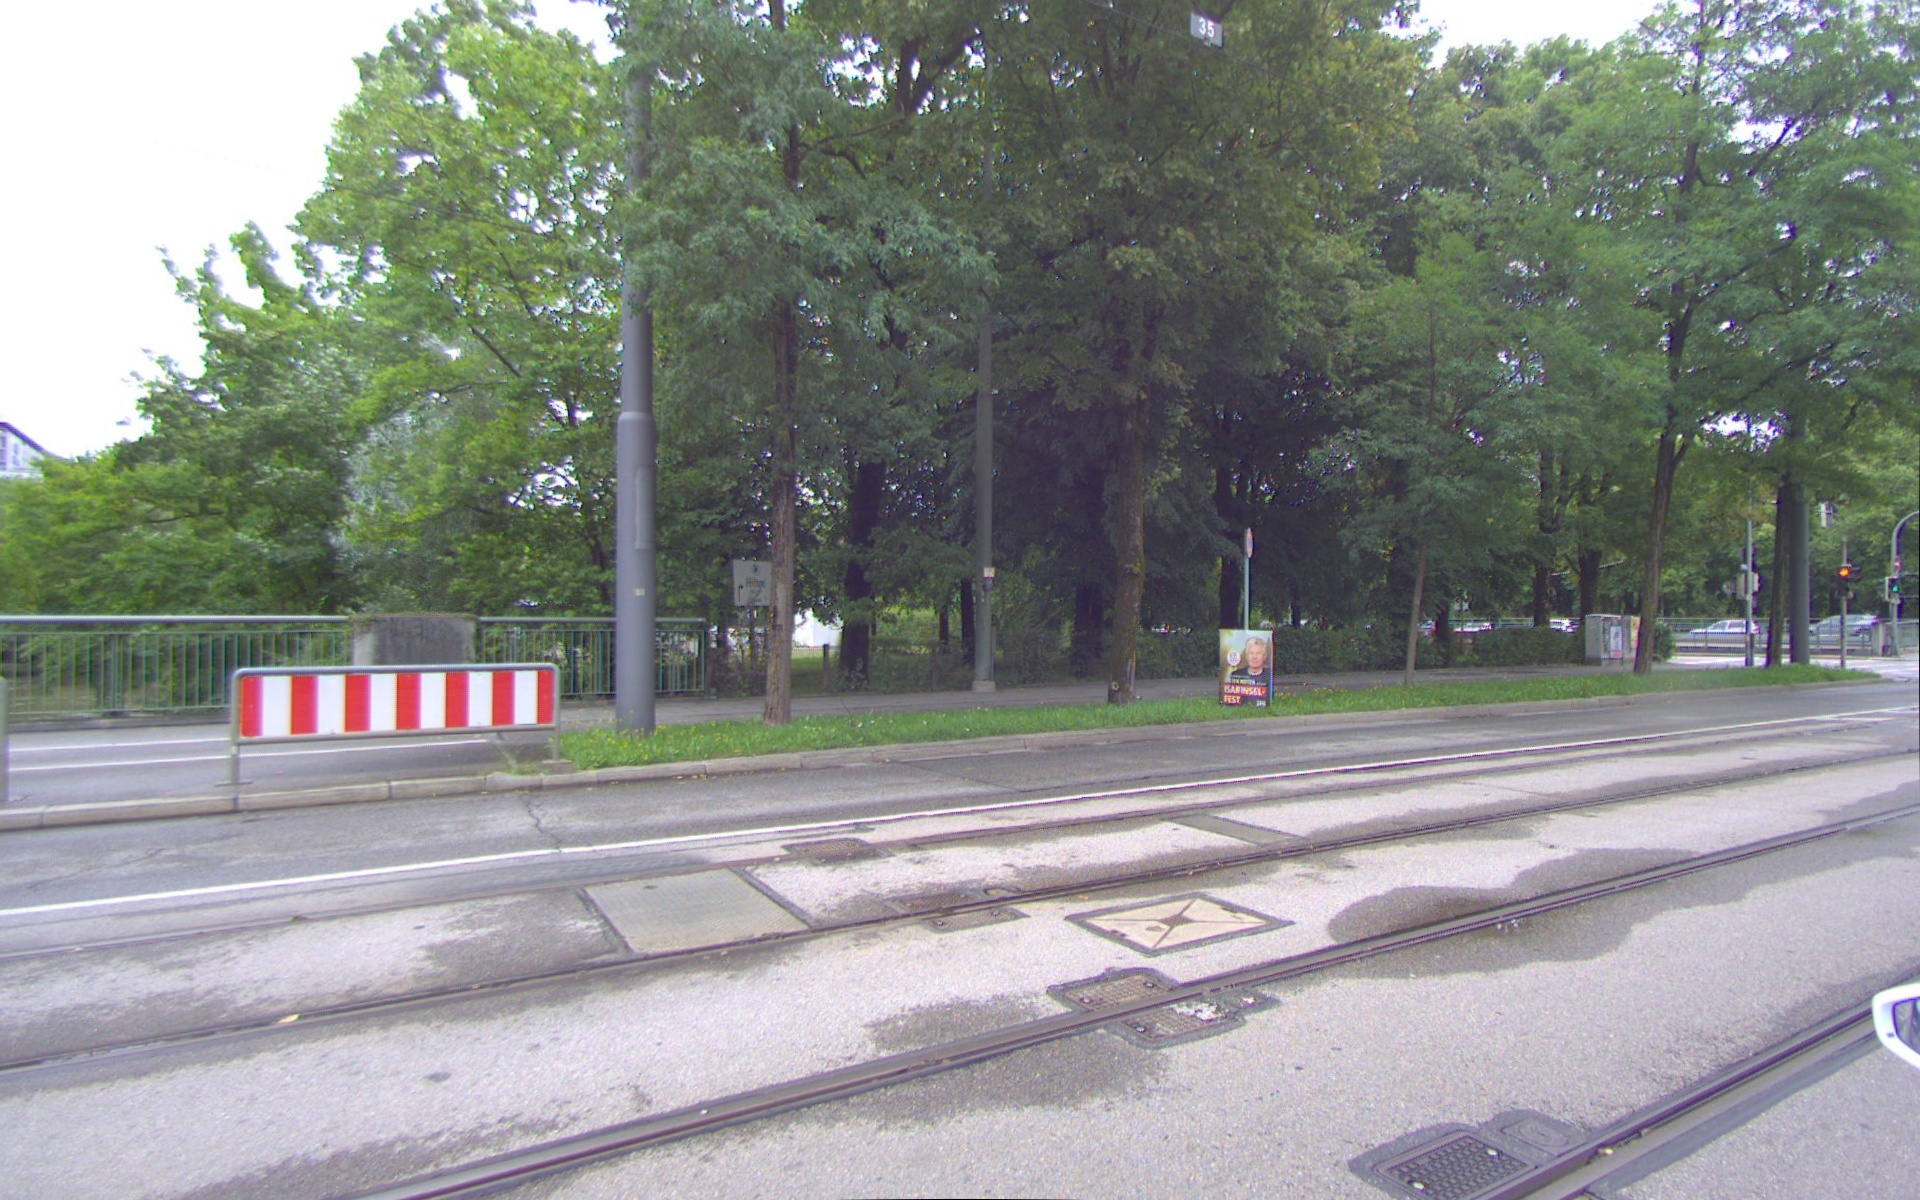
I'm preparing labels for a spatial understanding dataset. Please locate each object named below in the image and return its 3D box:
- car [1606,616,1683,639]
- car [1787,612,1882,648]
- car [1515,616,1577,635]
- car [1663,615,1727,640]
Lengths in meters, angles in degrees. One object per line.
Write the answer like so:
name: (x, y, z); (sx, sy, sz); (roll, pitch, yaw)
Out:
car: (46.003, 1.839, 67.583); (1.703, 1.423, 3.900); (1, 0, -34)
car: (51.491, 1.750, 59.203); (1.476, 1.912, 3.994); (1, 1, -36)
car: (42.545, 1.860, 73.006); (1.238, 1.201, 3.704); (1, 0, -34)
car: (47.500, 1.763, 64.915); (1.238, 1.471, 3.090); (1, 1, -34)
